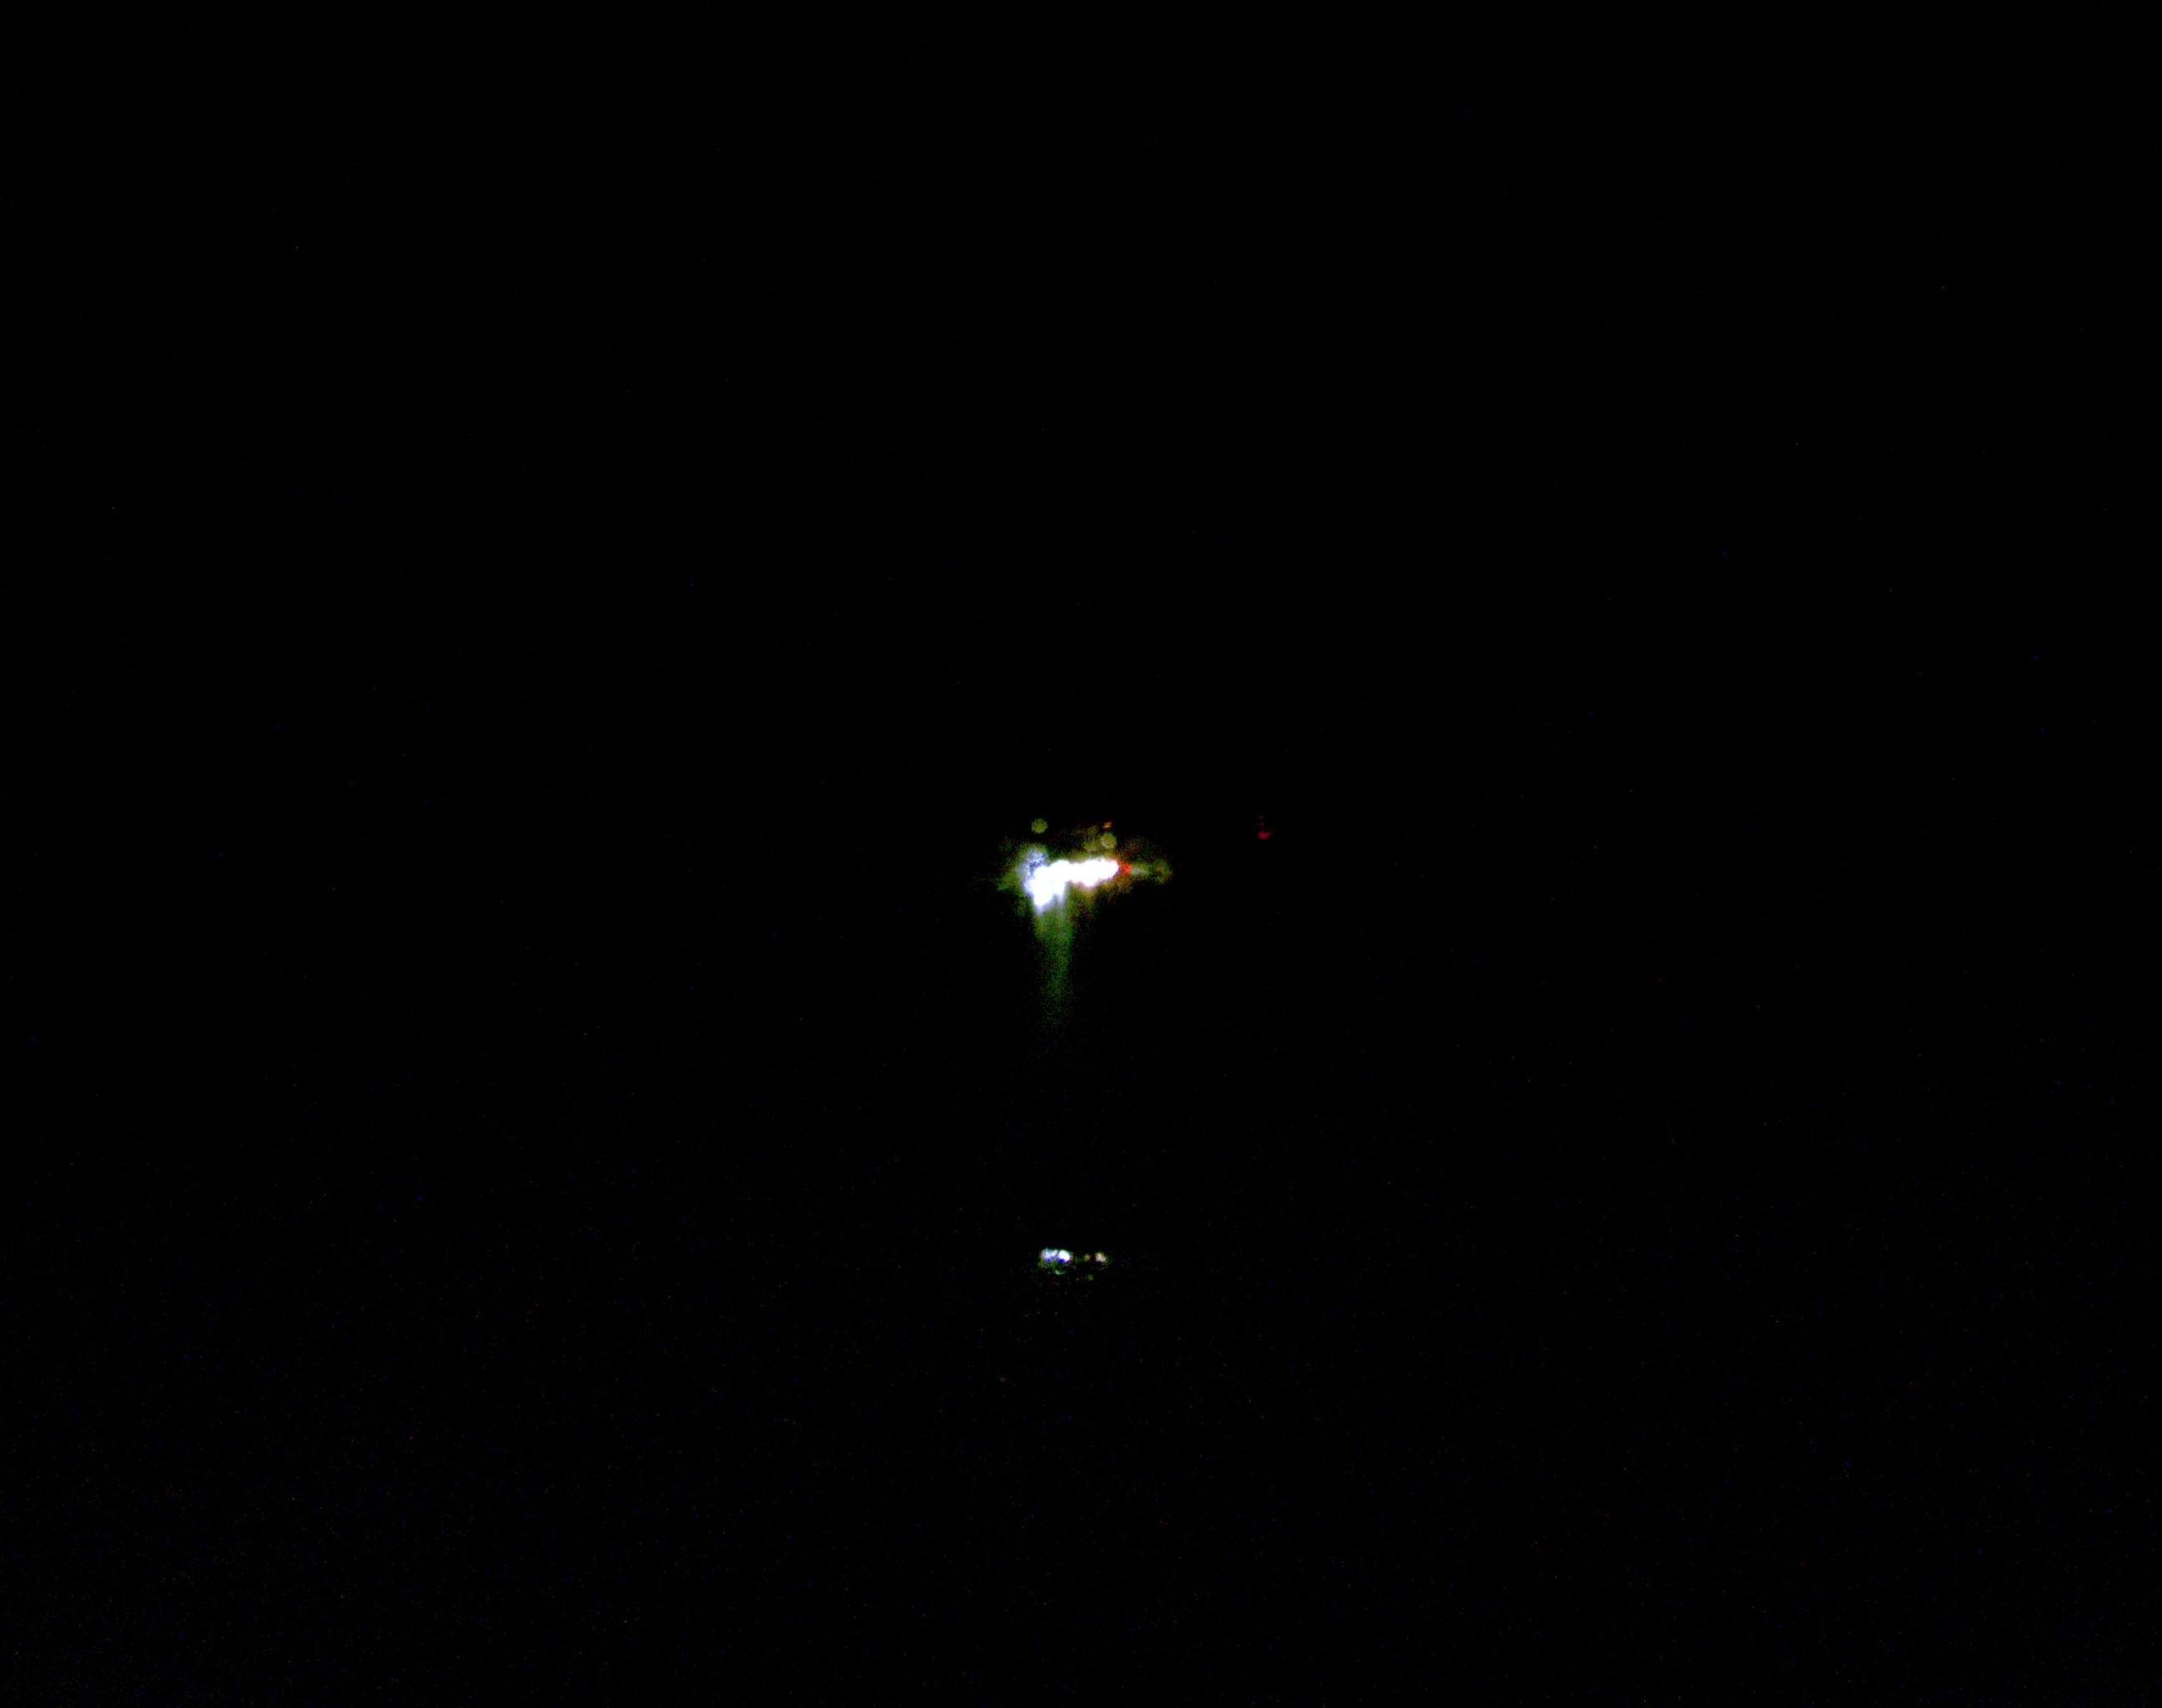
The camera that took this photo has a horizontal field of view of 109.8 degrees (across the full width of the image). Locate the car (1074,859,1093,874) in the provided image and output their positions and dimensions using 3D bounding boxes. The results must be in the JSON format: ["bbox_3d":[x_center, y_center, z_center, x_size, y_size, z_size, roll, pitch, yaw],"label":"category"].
[{"bbox_3d":[0.299,1.429,86.518,1.998,1.575,4.000,-3,0,1],"label":"car"}]

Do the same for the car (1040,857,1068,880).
[{"bbox_3d":[-2.135,1.145,61.510,1.998,1.575,4.000,-4,0,0],"label":"car"}]

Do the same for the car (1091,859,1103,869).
[{"bbox_3d":[2.627,1.649,125.472,1.998,1.575,4.000,-3,0,1],"label":"car"}]

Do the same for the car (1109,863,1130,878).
[{"bbox_3d":[4.182,1.776,83.677,1.999,1.465,4.275,-3,0,-1],"label":"car"}]

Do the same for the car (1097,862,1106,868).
[{"bbox_3d":[5.479,2.892,203.410,1.998,1.575,4.000,-3,0,1],"label":"car"}]
